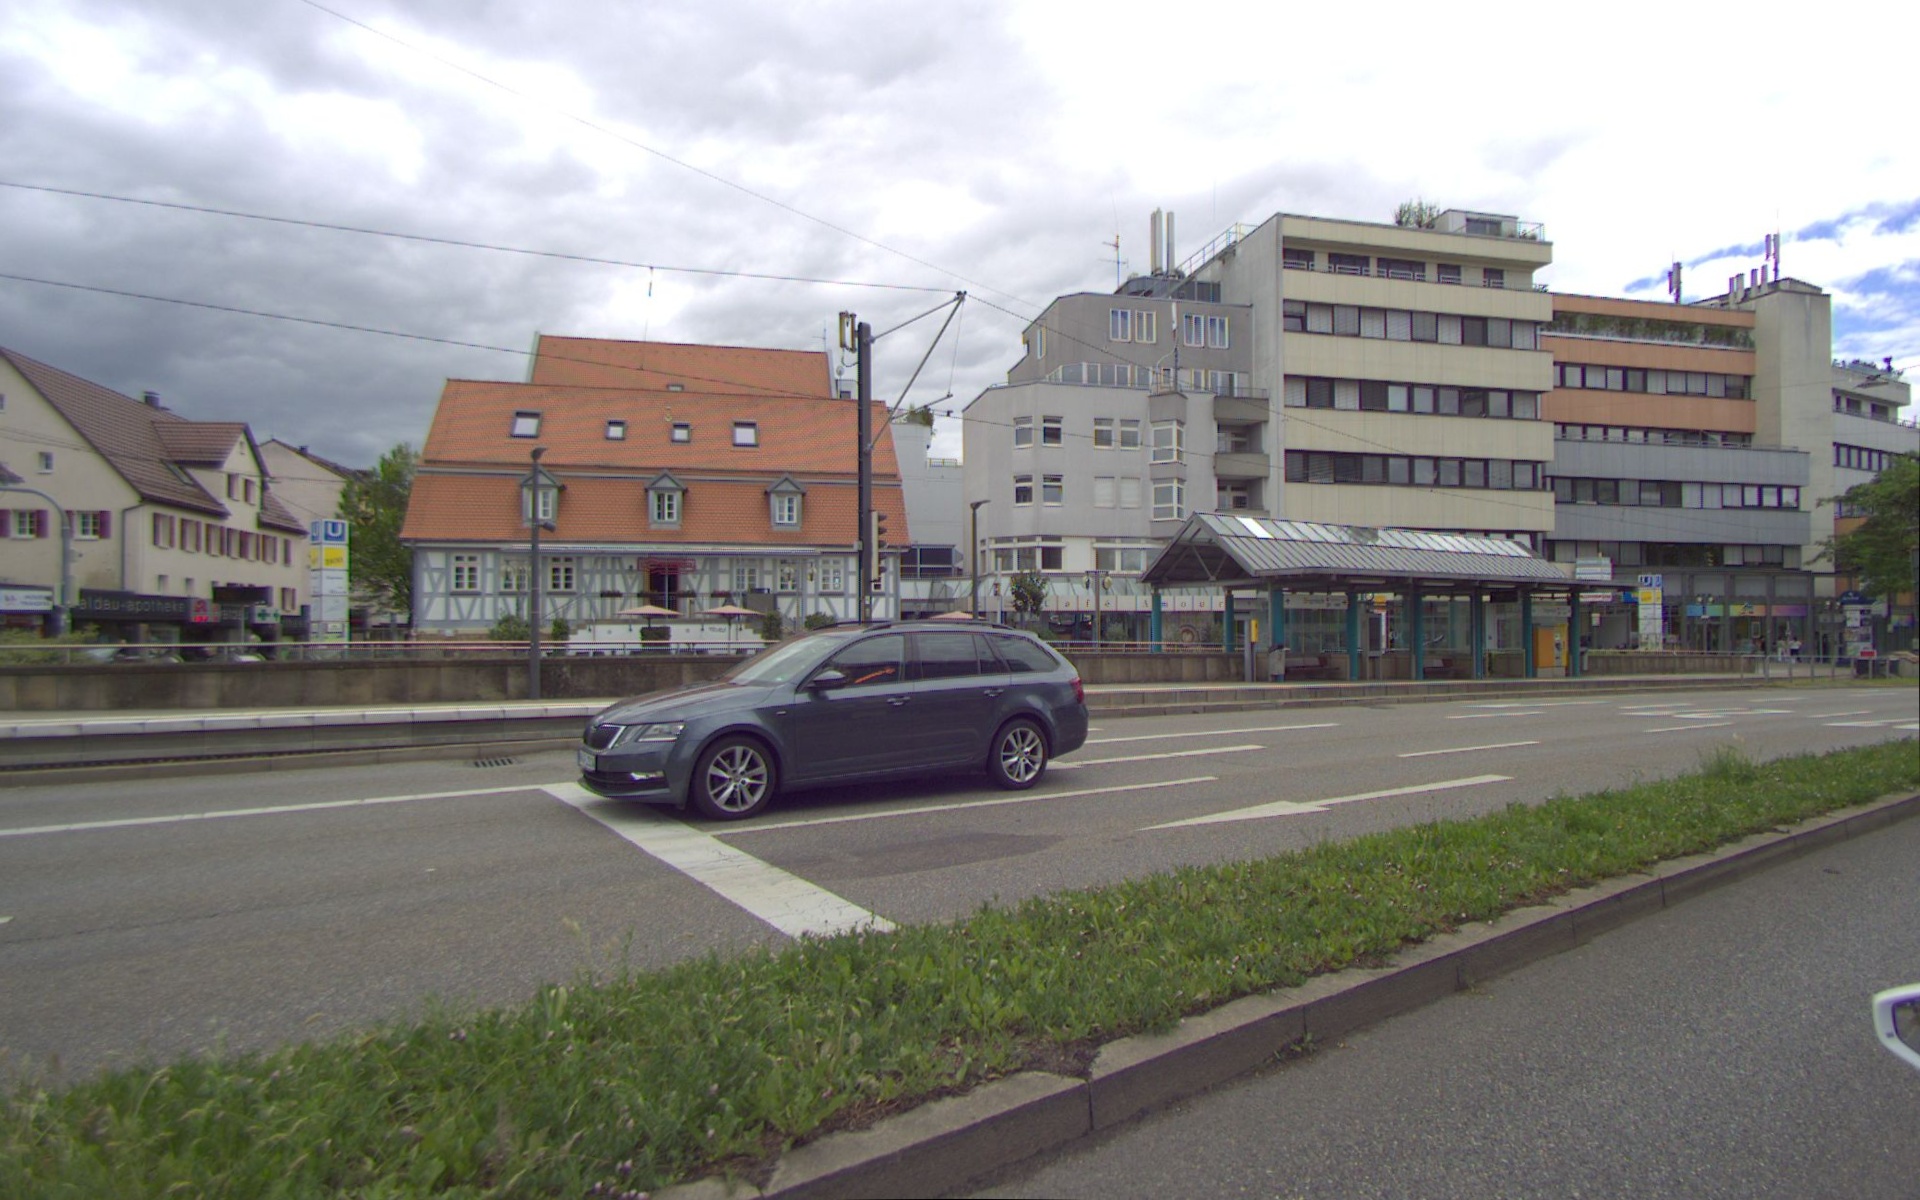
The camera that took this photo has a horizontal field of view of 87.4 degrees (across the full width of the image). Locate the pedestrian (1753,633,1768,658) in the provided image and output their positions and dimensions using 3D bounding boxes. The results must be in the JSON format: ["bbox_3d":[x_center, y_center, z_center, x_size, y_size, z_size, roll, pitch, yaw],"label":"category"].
[{"bbox_3d":[50.120,2.826,62.896,0.580,1.547,0.558,-1,-2,18],"label":"pedestrian"}]

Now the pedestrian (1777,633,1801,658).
[{"bbox_3d":[51.761,2.825,62.744,0.882,1.547,0.852,-1,-2,18],"label":"pedestrian"}]

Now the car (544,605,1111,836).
[{"bbox_3d":[-1.018,0.874,8.866,4.599,1.532,1.980,1,-2,-36],"label":"car"}]

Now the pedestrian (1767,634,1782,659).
[{"bbox_3d":[50.758,2.901,62.599,0.489,1.547,0.634,-1,-2,20],"label":"pedestrian"}]
